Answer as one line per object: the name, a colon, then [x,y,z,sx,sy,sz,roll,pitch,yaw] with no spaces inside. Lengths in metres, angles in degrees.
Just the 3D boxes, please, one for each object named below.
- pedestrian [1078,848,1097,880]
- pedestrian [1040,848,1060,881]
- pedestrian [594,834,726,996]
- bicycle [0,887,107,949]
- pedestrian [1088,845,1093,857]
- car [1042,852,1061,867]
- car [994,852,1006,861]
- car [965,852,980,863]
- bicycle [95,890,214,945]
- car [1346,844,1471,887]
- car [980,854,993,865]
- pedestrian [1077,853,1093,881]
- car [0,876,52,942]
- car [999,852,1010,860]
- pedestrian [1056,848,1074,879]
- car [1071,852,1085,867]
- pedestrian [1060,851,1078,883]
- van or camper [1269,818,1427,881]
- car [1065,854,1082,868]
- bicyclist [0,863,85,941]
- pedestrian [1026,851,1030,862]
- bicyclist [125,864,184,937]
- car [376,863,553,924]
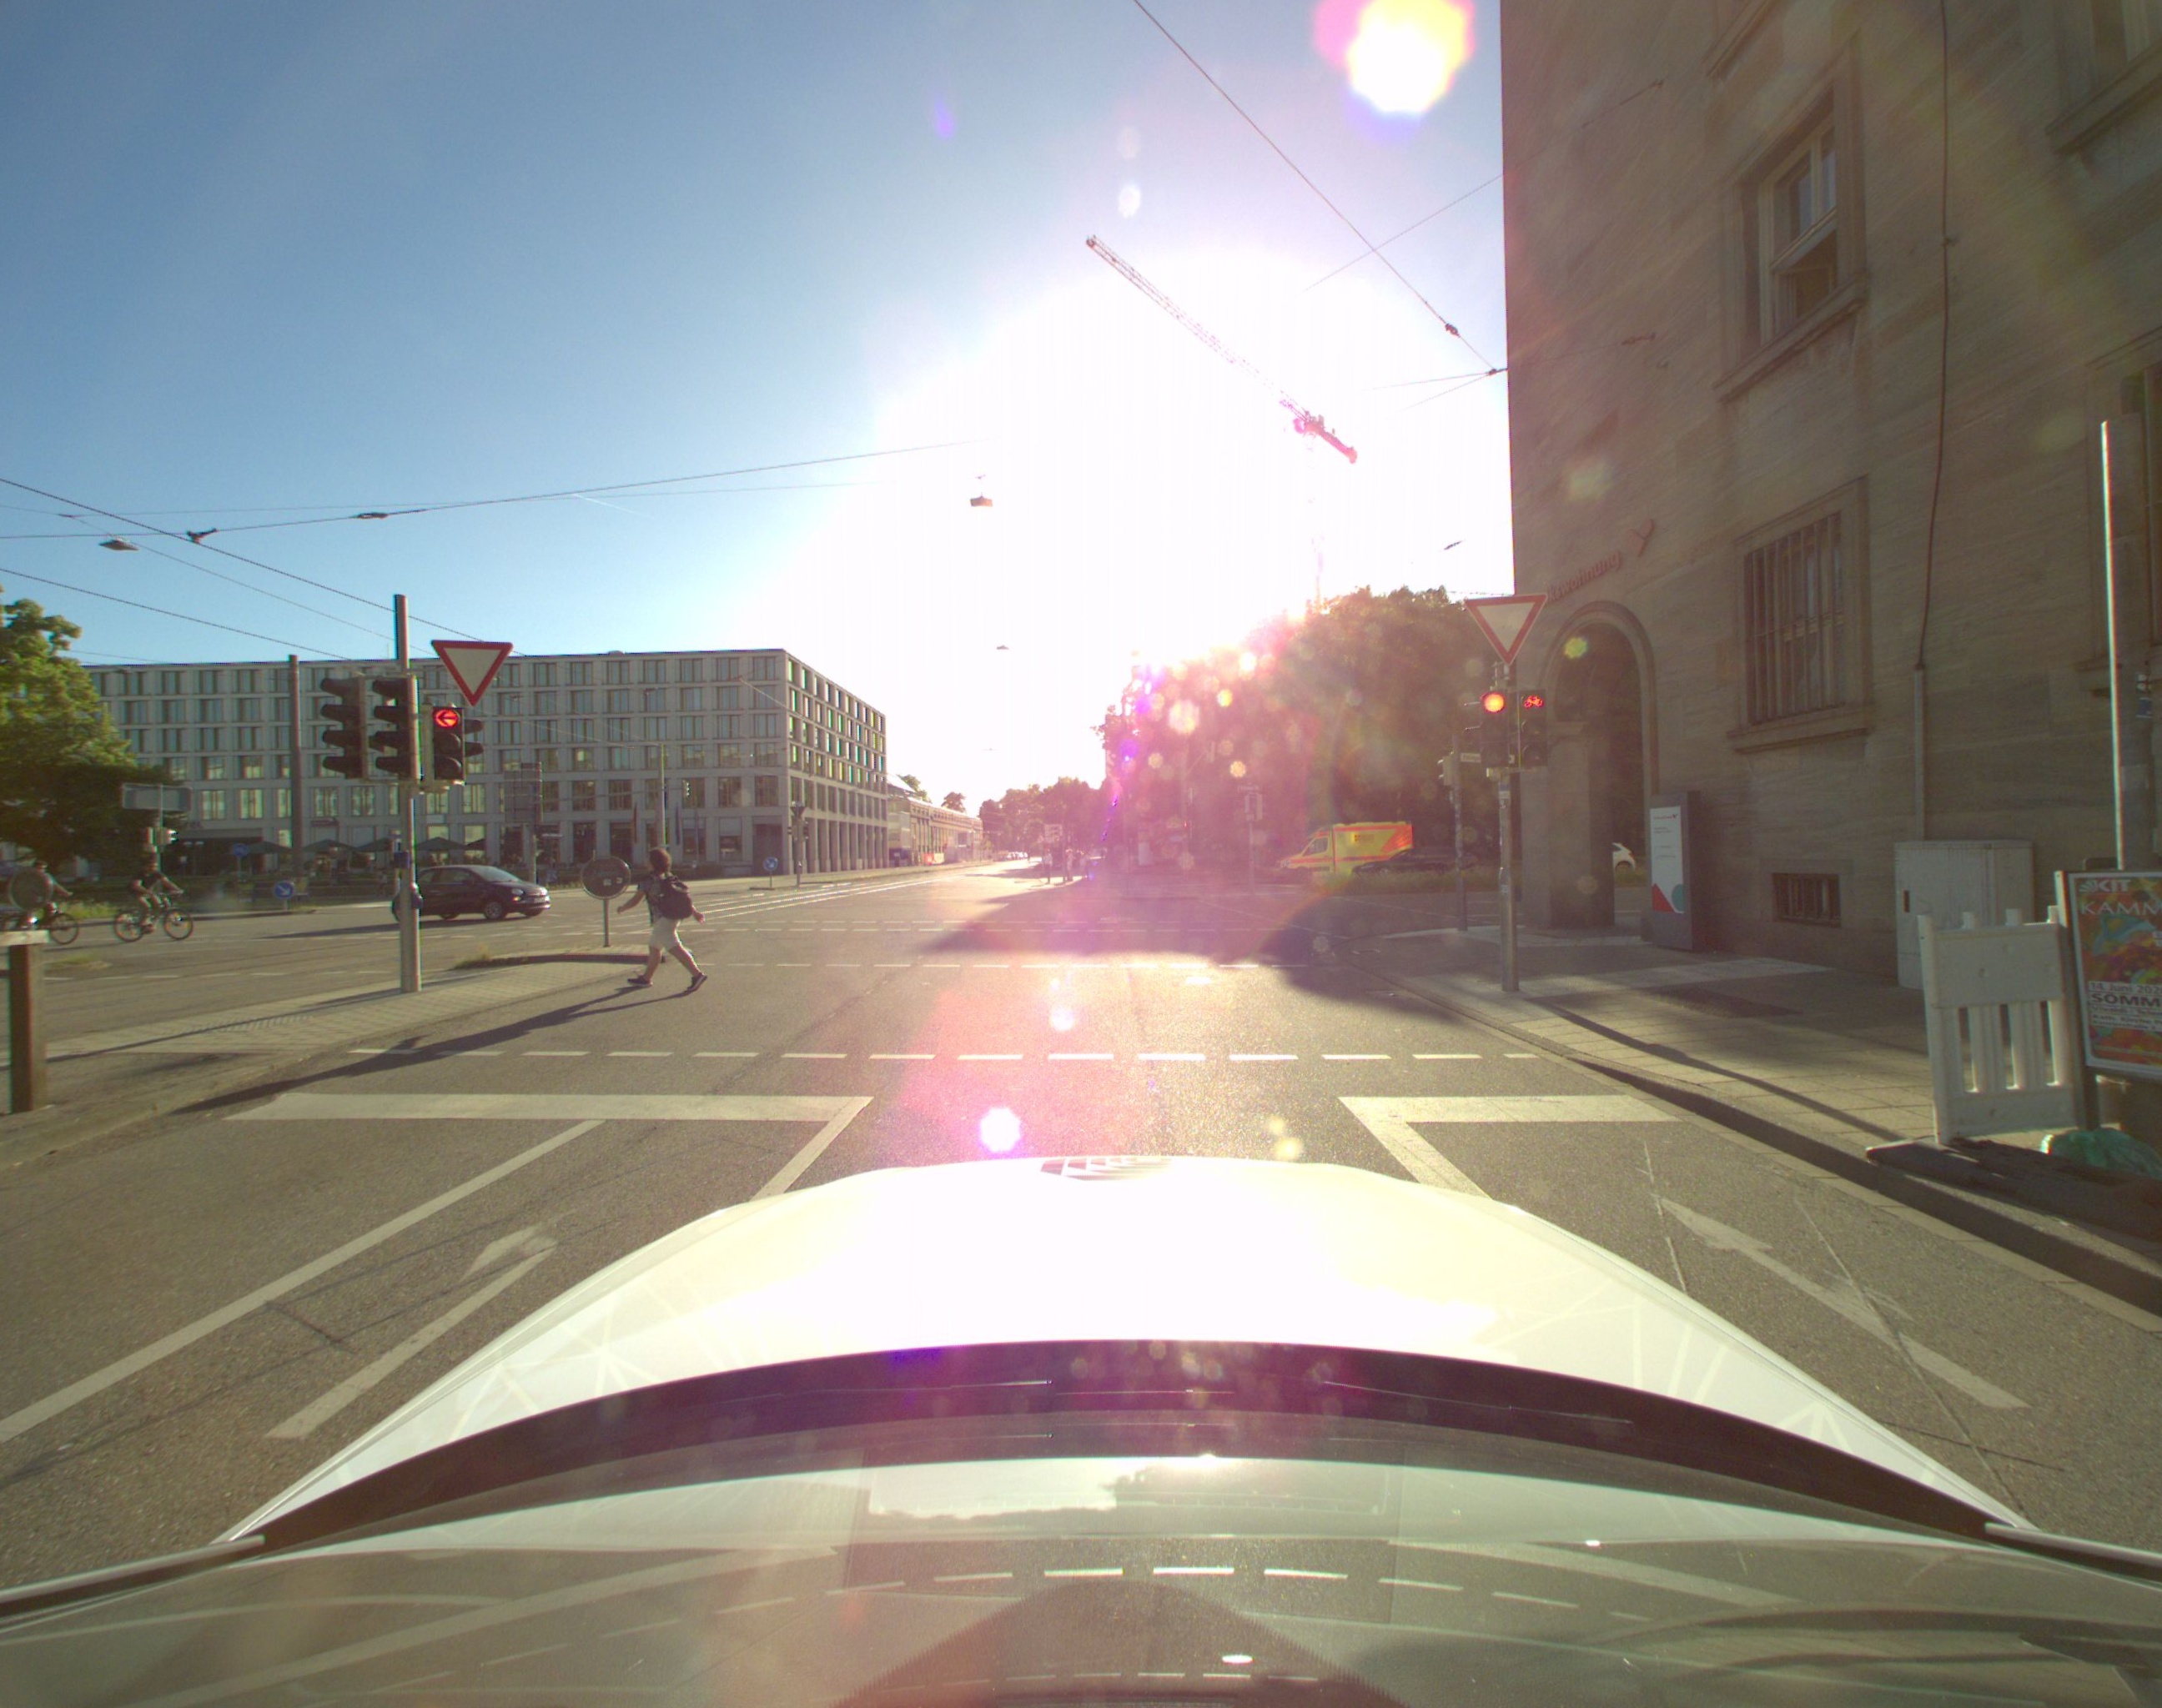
pedestrian: [0.383,0.571,45.986,0.849,1.784,0.776,-2,0,-15]
pedestrian: [-1.724,0.596,45.168,0.967,1.784,0.776,-2,0,-15]
pedestrian: [-4.810,0.655,9.393,1.039,1.721,1.032,-2,0,-10]
bicycle: [-23.523,1.446,18.437,2.037,1.288,0.888,-2,0,7]
pedestrian: [2.859,-0.849,246.144,1.396,3.597,1.568,0,-1,1]
car: [-2.967,0.568,82.104,1.678,1.501,3.510,0,-1,2]
car: [-15.523,0.505,156.544,1.812,1.712,3.807,-2,0,2]
car: [-17.819,0.522,134.114,1.812,1.712,3.807,-2,0,2]
bicycle: [-20.705,1.410,18.217,1.913,1.122,0.792,-2,0,7]
car: [13.140,0.456,32.848,4.297,1.647,1.889,0,-1,2]
car: [-16.810,0.965,144.917,1.812,1.712,3.807,-2,0,2]
pedestrian: [0.241,0.751,46.731,0.763,1.558,0.585,-2,0,-15]
car: [-30.207,1.467,21.029,4.880,1.656,1.935,-1,1,2]
car: [-15.126,0.413,160.628,1.603,1.498,3.807,-2,0,2]
pedestrian: [-0.924,0.550,47.549,0.849,1.784,0.776,-2,0,-15]
car: [-0.377,0.790,107.828,1.678,1.962,3.510,0,-1,2]
pedestrian: [-0.697,0.723,46.742,0.849,1.784,0.776,-2,0,-15]
van or camper: [12.469,-0.184,38.538,6.674,2.862,2.915,0,-1,6]
car: [-0.841,0.774,92.215,1.678,1.501,3.510,0,-1,2]
bicyclist: [-23.504,1.061,18.430,0.885,1.695,0.846,-2,0,7]
pedestrian: [-7.187,0.359,110.260,0.522,1.484,0.437,0,-1,0]
bicyclist: [-20.724,1.024,18.226,0.615,1.582,0.595,-2,0,7]
car: [-16.385,1.022,21.772,3.519,1.506,1.522,-1,0,-1]
